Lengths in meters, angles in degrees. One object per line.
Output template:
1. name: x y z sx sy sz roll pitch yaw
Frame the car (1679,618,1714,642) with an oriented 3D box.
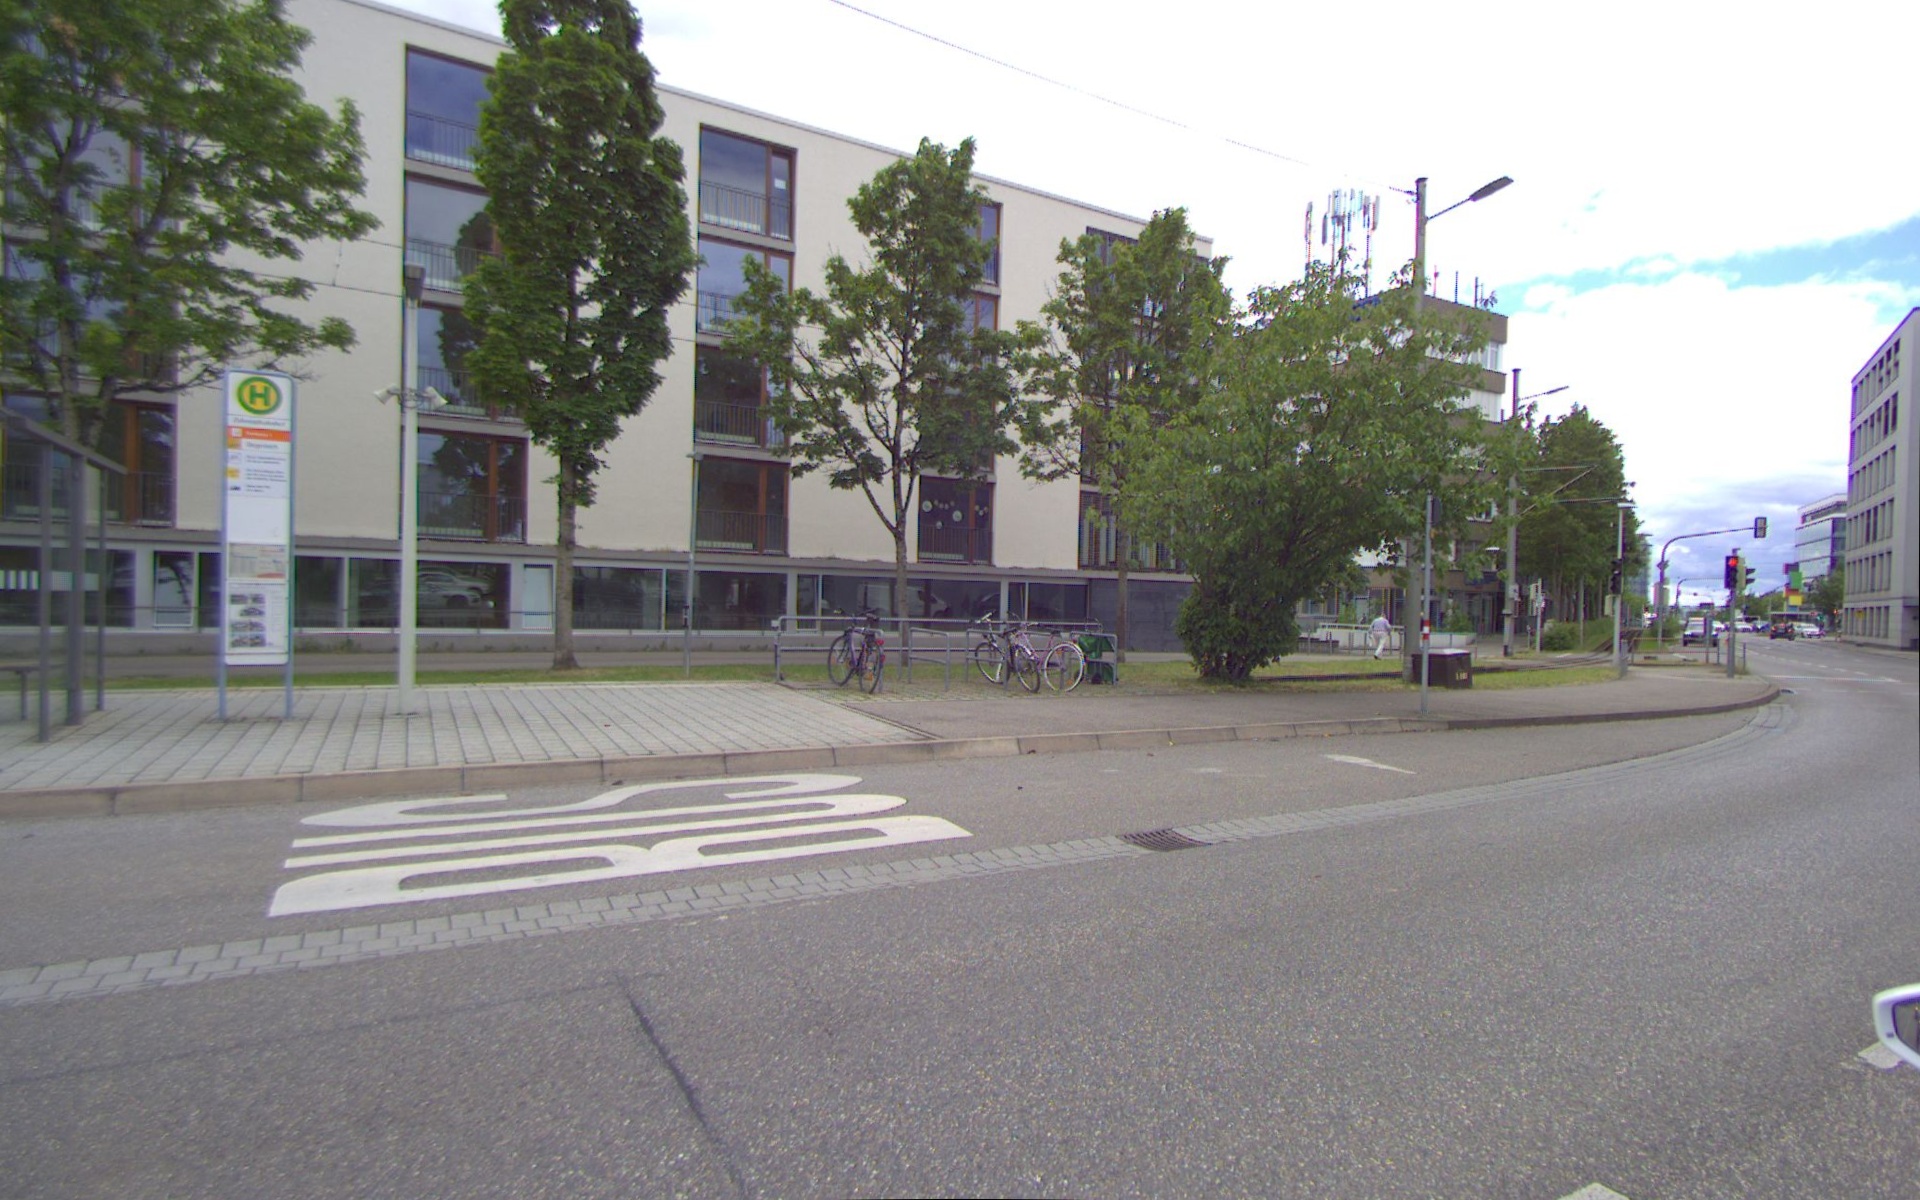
1. car: 47.983 1.940 65.415 1.746 1.498 3.985 -1 -2 37

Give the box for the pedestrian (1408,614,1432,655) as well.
1. pedestrian: 19.337 1.439 42.235 0.674 1.728 0.684 1 -1 -29

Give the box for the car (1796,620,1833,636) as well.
1. car: 95.545 3.085 112.372 1.961 1.700 3.999 1 0 22

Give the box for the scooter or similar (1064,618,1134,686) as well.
1. scooter or similar: 2.216 0.814 16.004 0.767 1.023 0.781 1 0 -38

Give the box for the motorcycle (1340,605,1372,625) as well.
1. motorcycle: 25.248 0.950 64.111 0.563 1.215 1.866 1 0 -36

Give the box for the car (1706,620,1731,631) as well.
1. car: 111.284 3.736 147.490 1.961 1.599 3.998 1 0 23

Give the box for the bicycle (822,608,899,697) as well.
1. bicycle: -1.369 0.675 13.543 0.391 1.039 1.680 1 2 -28

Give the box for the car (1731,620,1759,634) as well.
1. car: 105.363 3.579 134.846 1.961 1.726 3.998 1 0 23

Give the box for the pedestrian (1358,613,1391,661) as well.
1. pedestrian: 13.669 1.217 33.083 0.836 1.547 0.993 0 -1 33

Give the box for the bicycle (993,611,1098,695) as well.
1. bicycle: 1.242 0.752 14.848 0.405 1.103 1.689 1 2 -42

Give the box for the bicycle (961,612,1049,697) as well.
1. bicycle: 0.623 0.750 14.440 0.403 1.060 1.741 1 2 -28

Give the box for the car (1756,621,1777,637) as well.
1. car: 92.015 3.297 114.579 1.737 1.630 4.171 2 0 38

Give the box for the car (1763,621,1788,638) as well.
1. car: 81.296 2.913 100.143 1.737 1.630 4.171 2 0 38

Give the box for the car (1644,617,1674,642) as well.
1. car: 51.665 2.175 74.213 1.660 1.832 4.335 -1 -2 38
